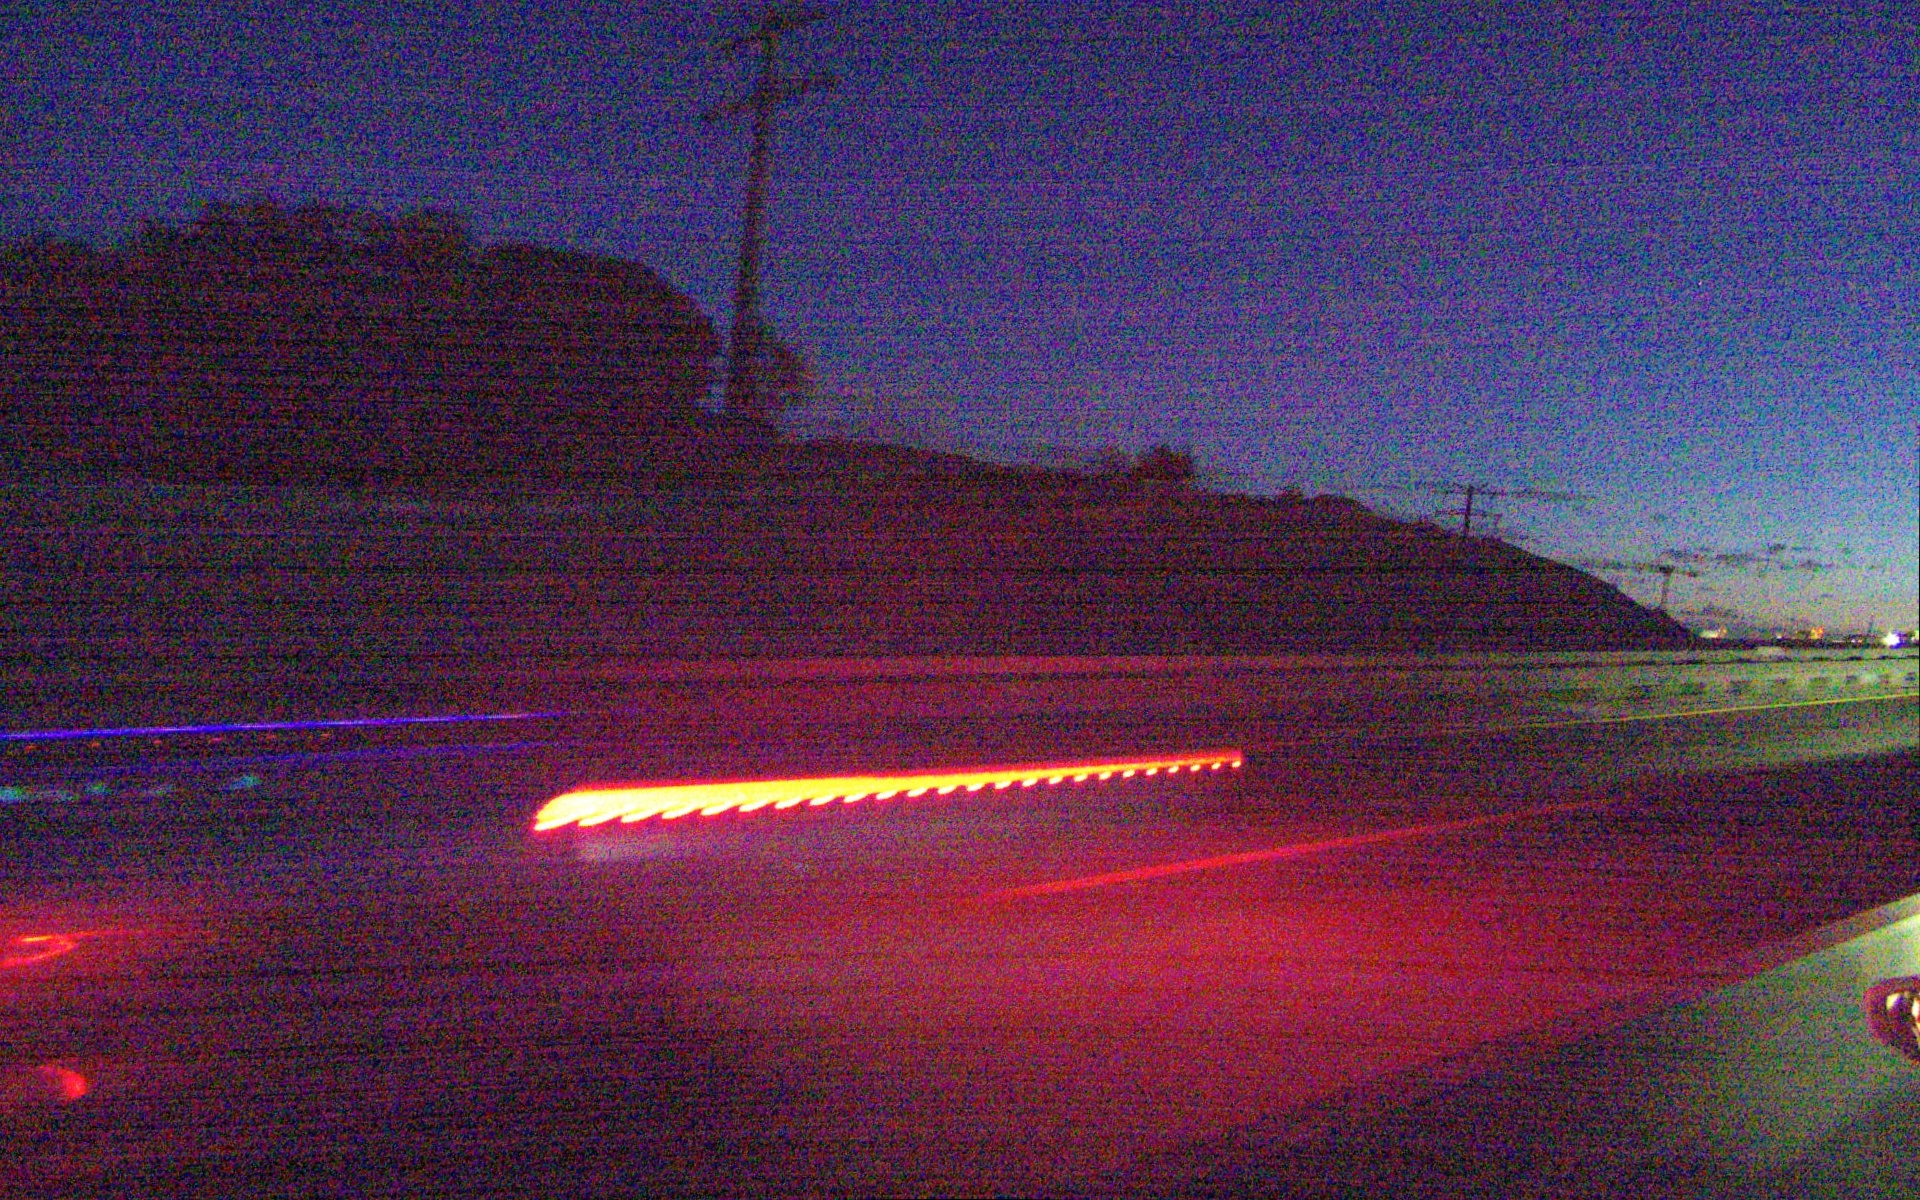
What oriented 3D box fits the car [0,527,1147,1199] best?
[{"bbox_3d":[-1.755,0.669,3.082,4.470,1.536,1.810,3,-2,-30],"label":"car"}]
